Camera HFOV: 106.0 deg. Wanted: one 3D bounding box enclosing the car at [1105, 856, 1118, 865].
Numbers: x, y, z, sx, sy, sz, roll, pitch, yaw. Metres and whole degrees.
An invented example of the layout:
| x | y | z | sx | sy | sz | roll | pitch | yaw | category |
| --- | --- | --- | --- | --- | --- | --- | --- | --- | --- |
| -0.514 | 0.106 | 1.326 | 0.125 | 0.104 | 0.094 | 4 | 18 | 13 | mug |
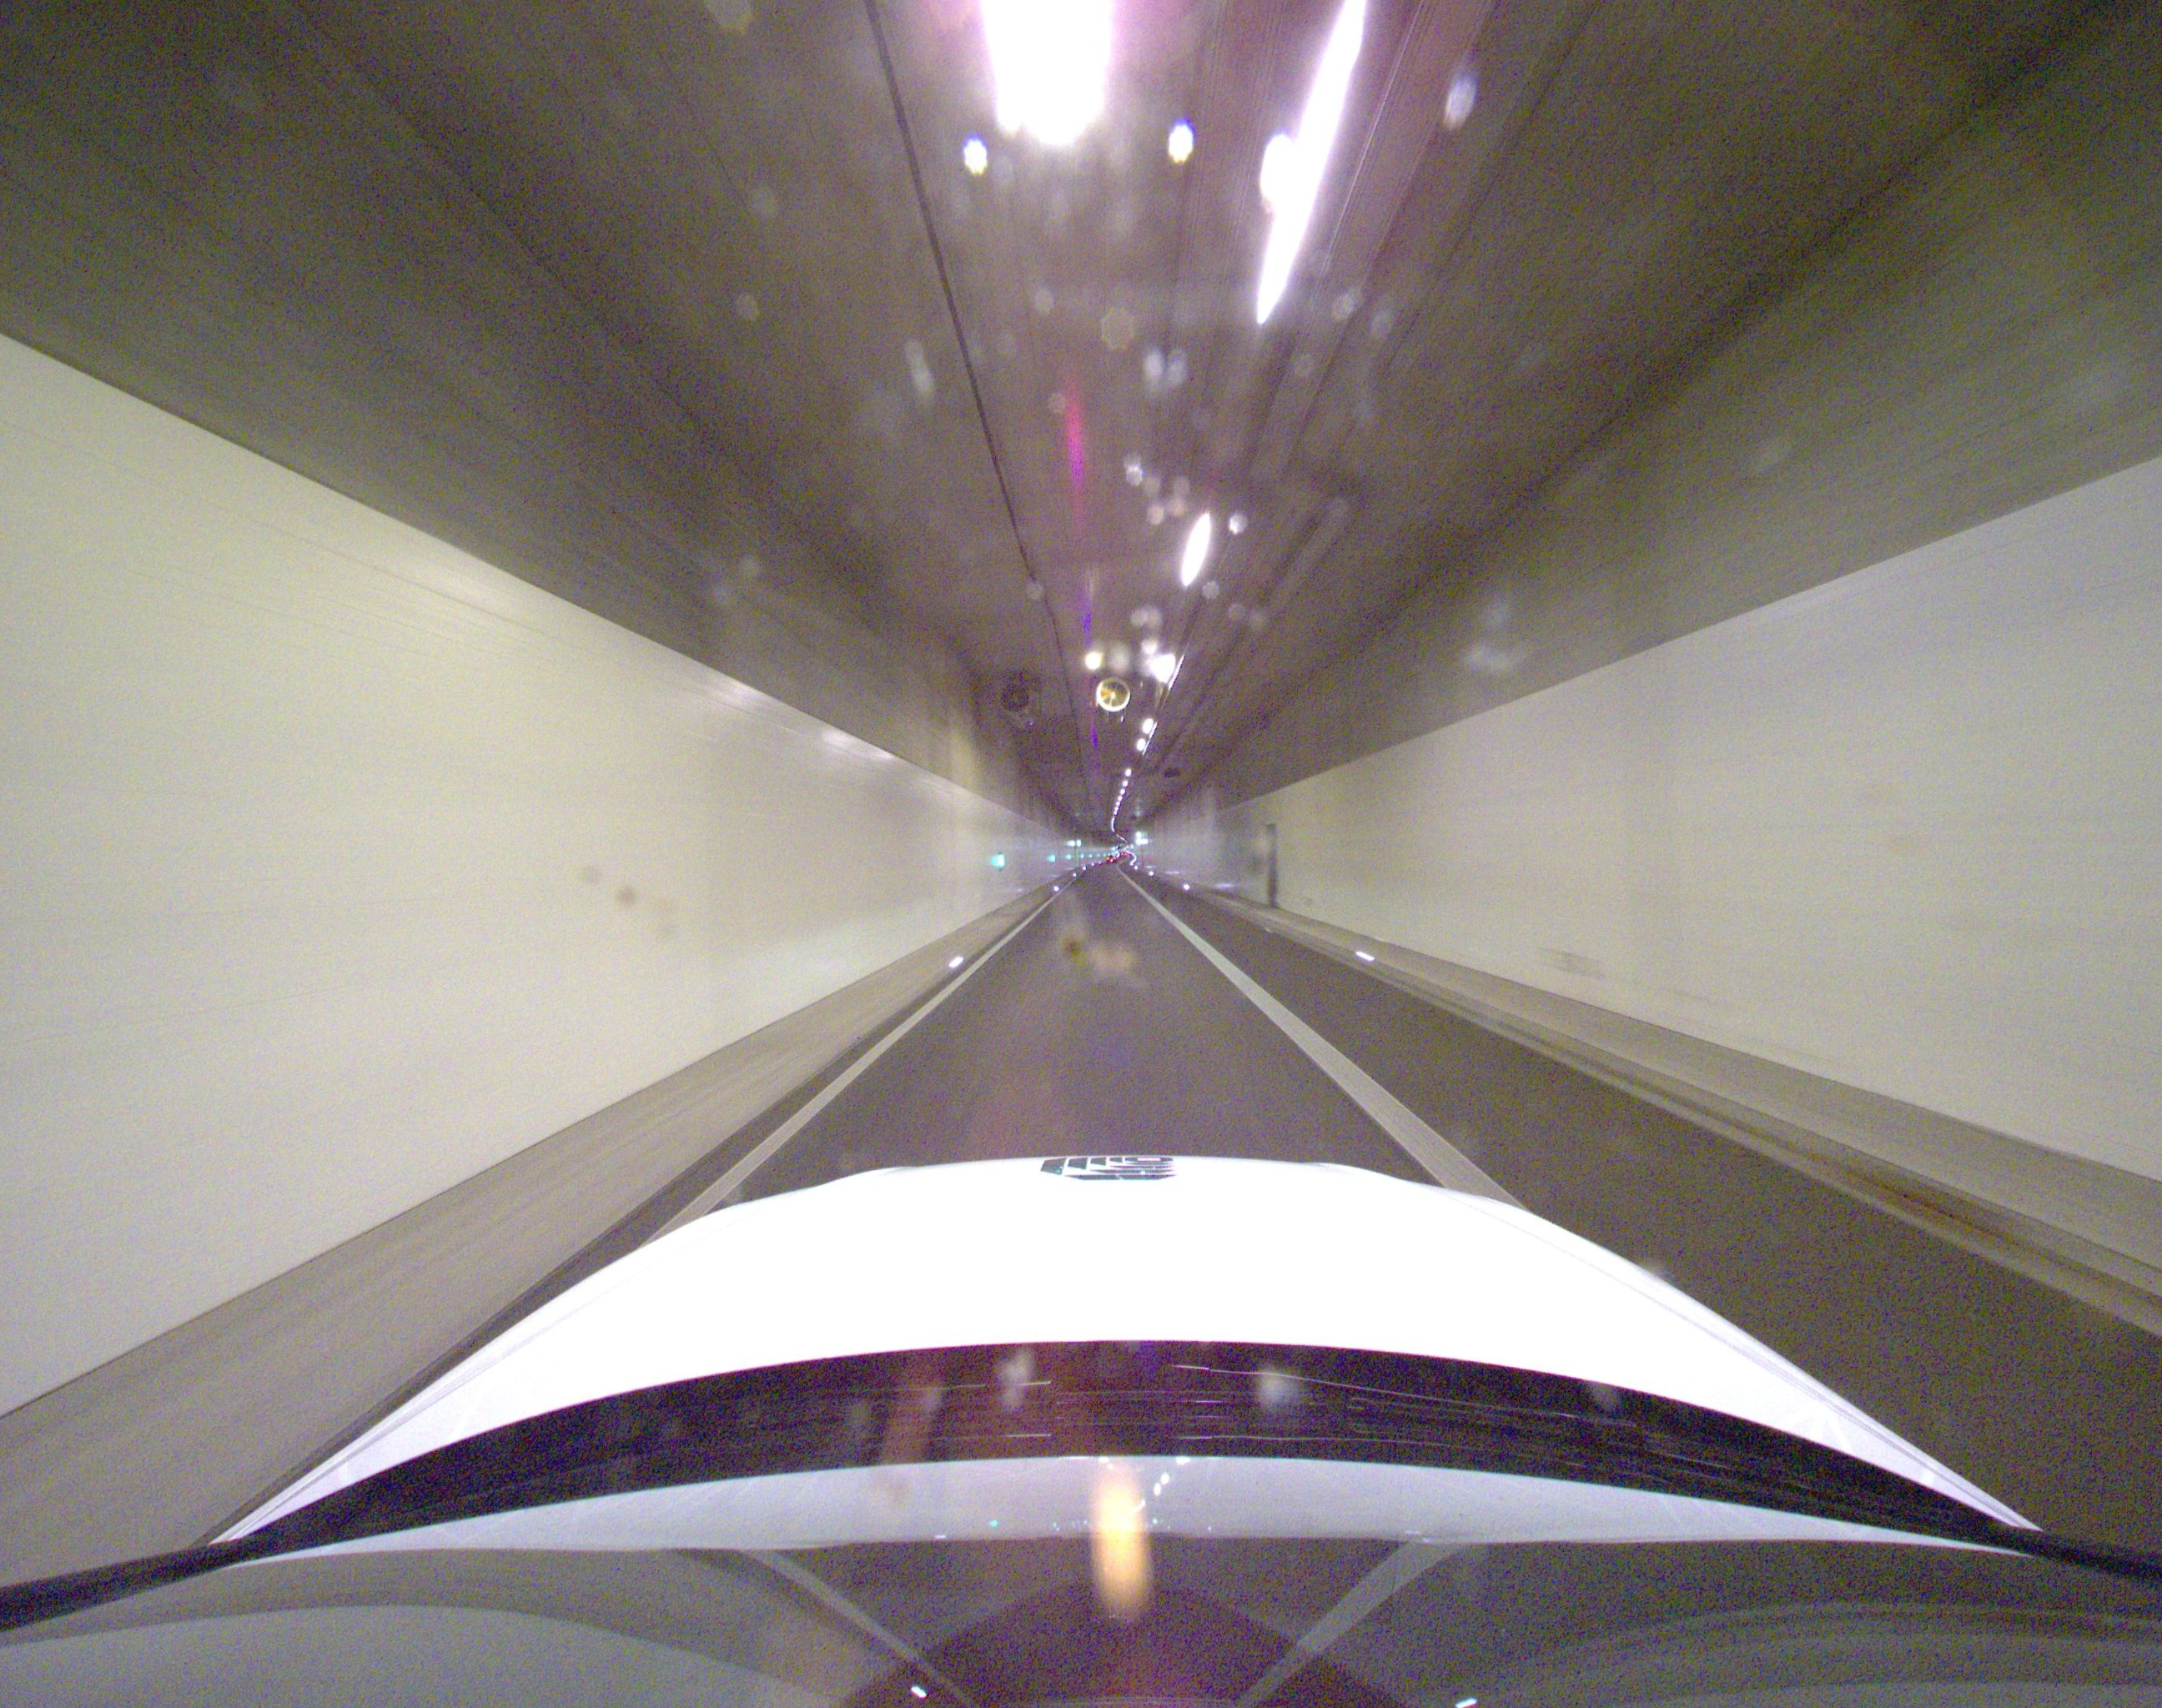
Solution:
| x | y | z | sx | sy | sz | roll | pitch | yaw | category |
| --- | --- | --- | --- | --- | --- | --- | --- | --- | --- |
| 5.163 | 1.031 | 137.981 | 1.986 | 1.420 | 4.002 | -1 | 0 | 2 | car |
